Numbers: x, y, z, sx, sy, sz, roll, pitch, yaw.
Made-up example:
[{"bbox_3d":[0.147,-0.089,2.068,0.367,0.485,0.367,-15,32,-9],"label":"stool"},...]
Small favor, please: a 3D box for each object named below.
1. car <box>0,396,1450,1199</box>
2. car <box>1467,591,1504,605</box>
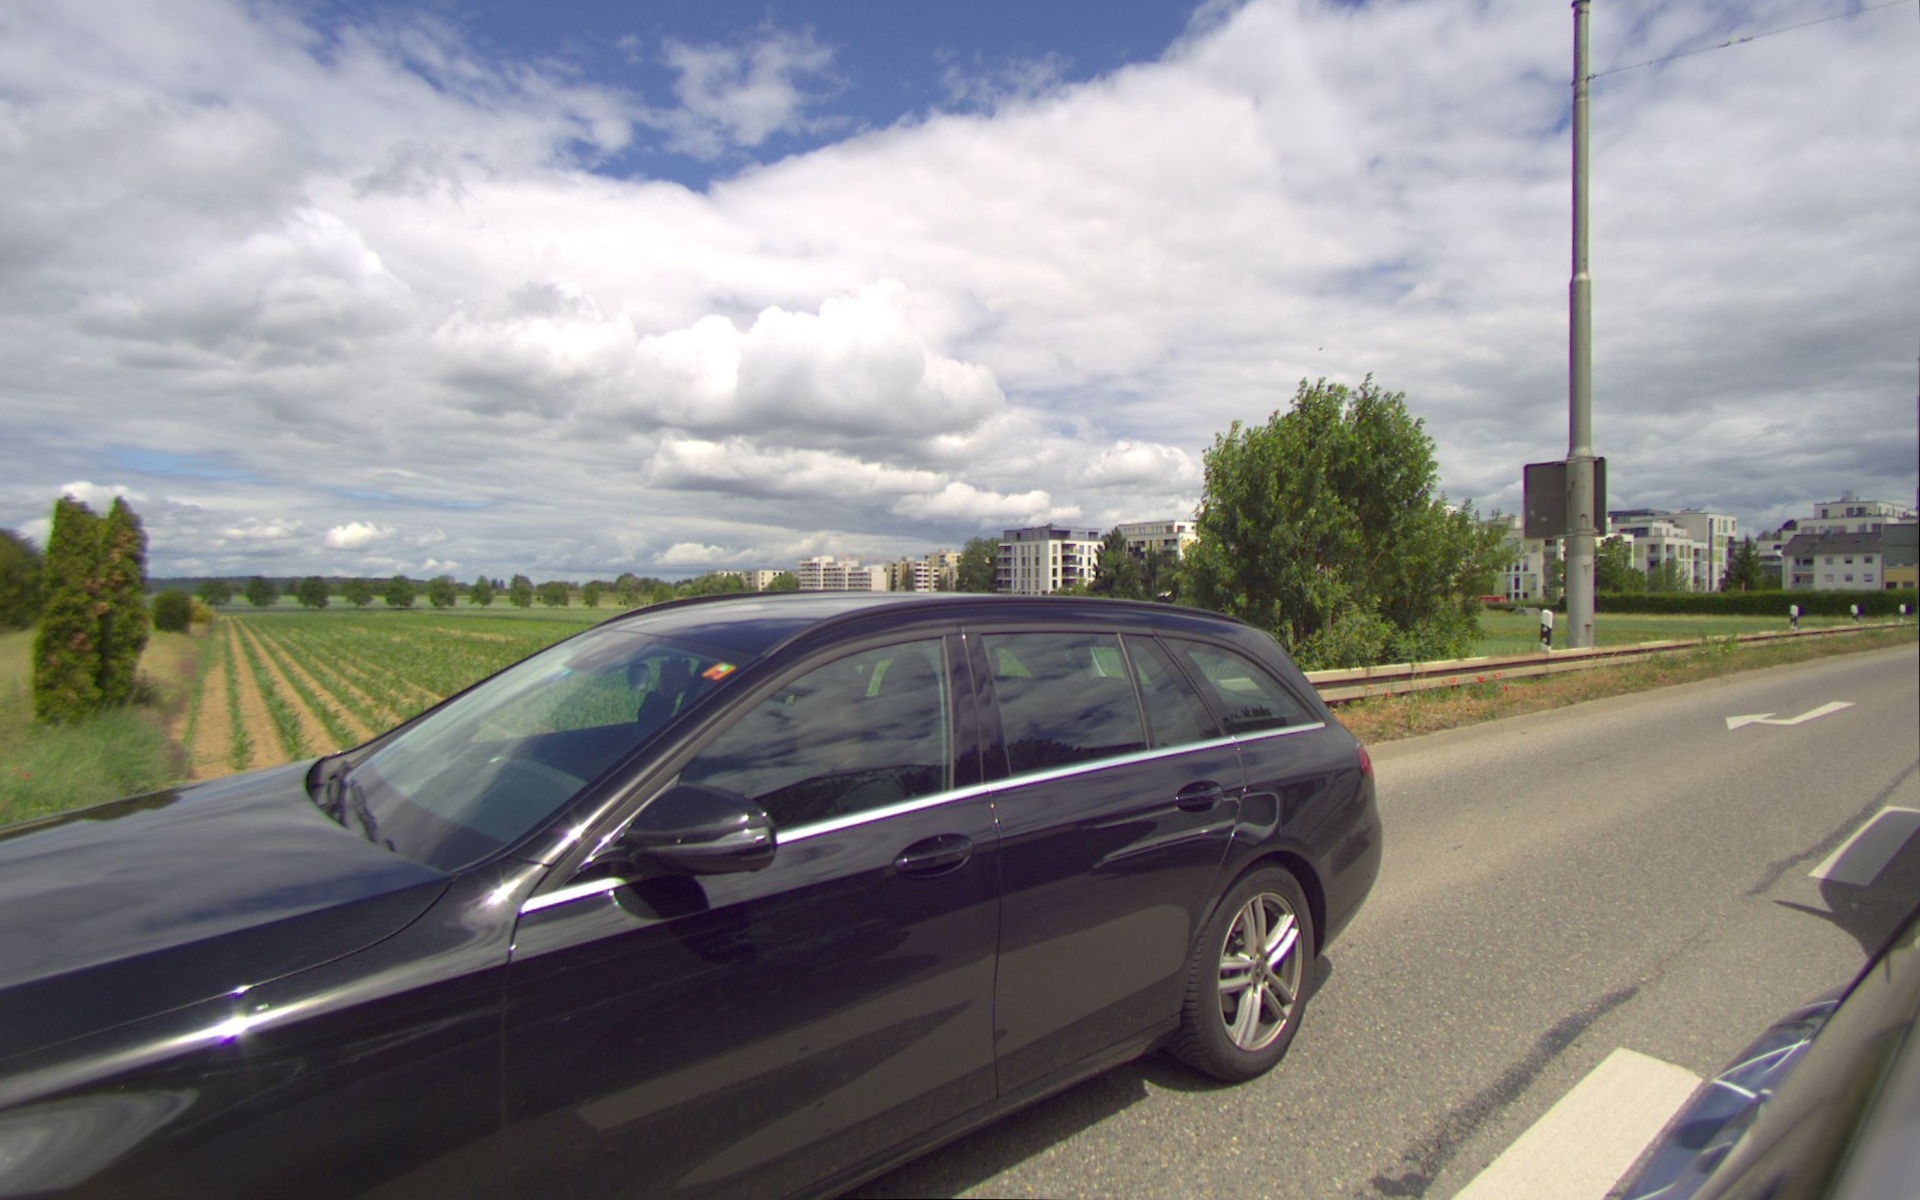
[{"bbox_3d":[-0.564,0.566,2.926,4.720,1.557,1.841,2,-1,-41],"label":"car"},{"bbox_3d":[76.918,-0.307,148.063,1.964,2.039,4.436,-1,1,-39],"label":"car"}]
